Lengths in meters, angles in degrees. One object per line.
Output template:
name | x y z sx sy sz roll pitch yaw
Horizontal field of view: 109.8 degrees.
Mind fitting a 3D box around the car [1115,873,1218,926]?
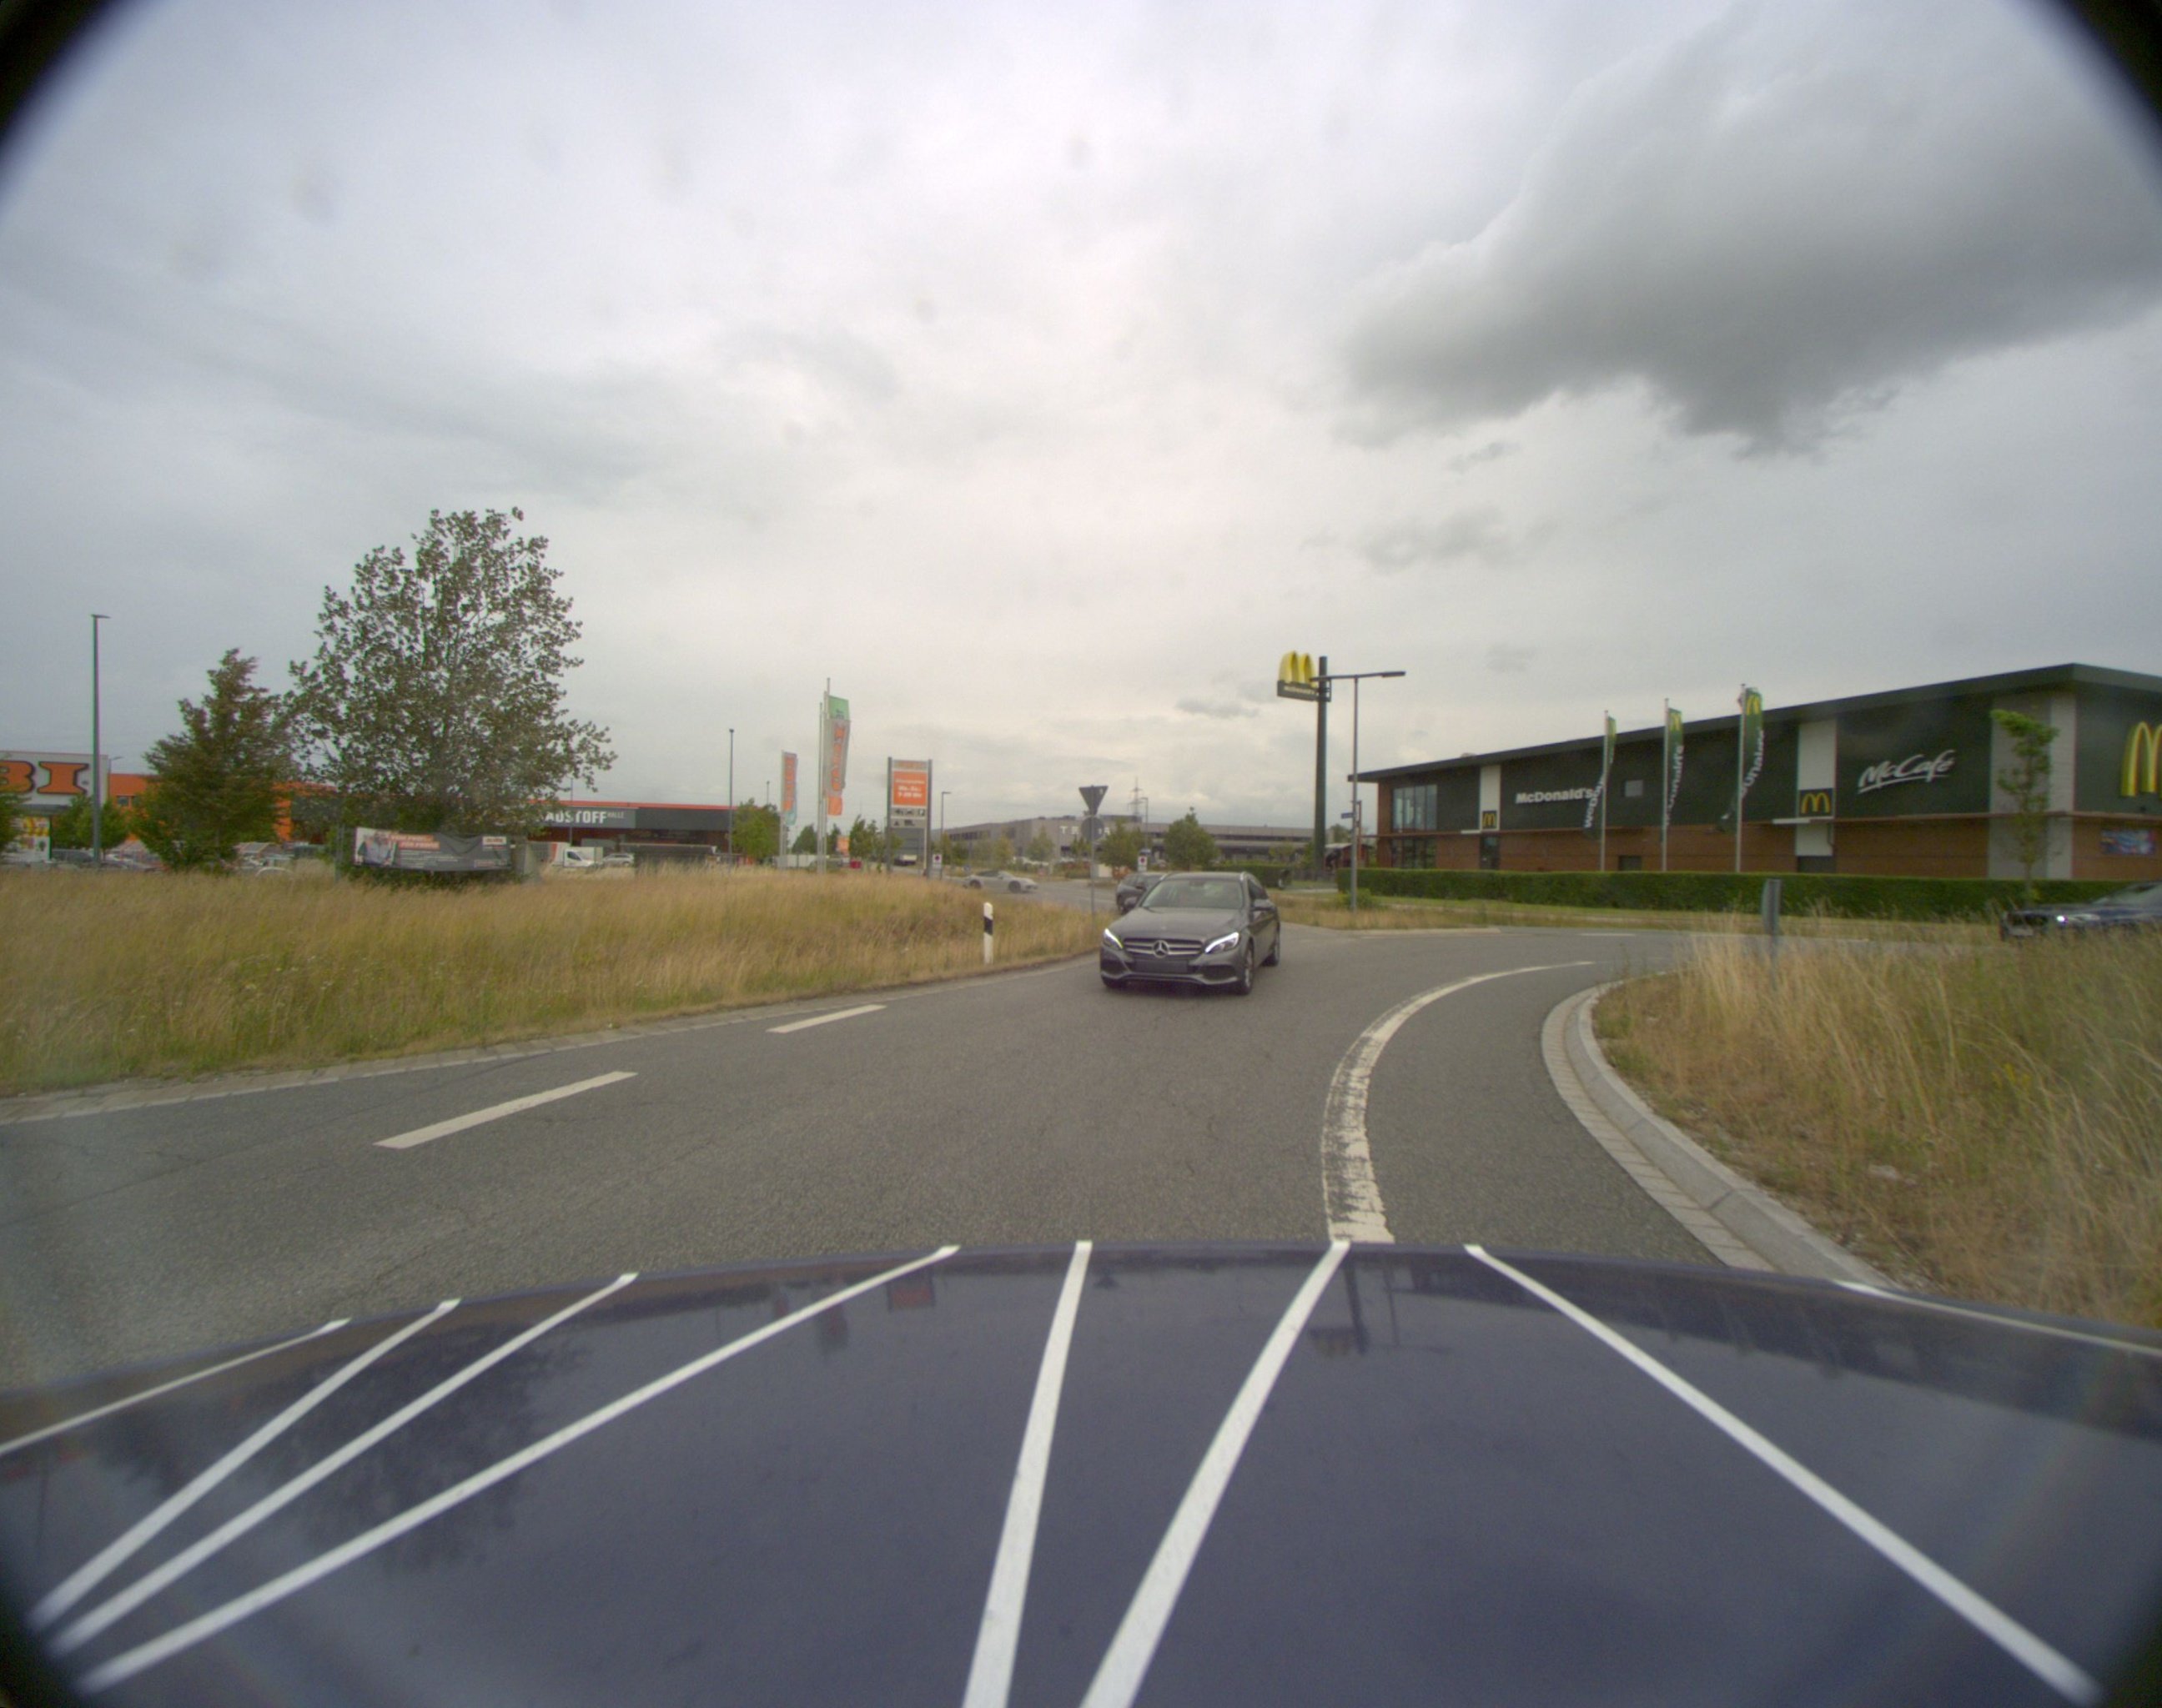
car | 2.759 1.443 25.499 2.000 1.496 4.301 -1 0 -15

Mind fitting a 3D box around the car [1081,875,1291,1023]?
car | 1.690 1.086 10.543 1.903 1.488 4.346 1 0 21

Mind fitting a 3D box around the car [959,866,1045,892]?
car | -4.647 1.449 44.895 4.724 1.390 1.831 1 1 16

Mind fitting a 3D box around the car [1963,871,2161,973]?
car | 20.819 1.301 15.341 3.998 1.709 1.843 -2 1 -3

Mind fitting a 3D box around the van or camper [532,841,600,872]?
van or camper | -46.400 0.229 68.572 4.768 2.775 1.996 1 0 -20
